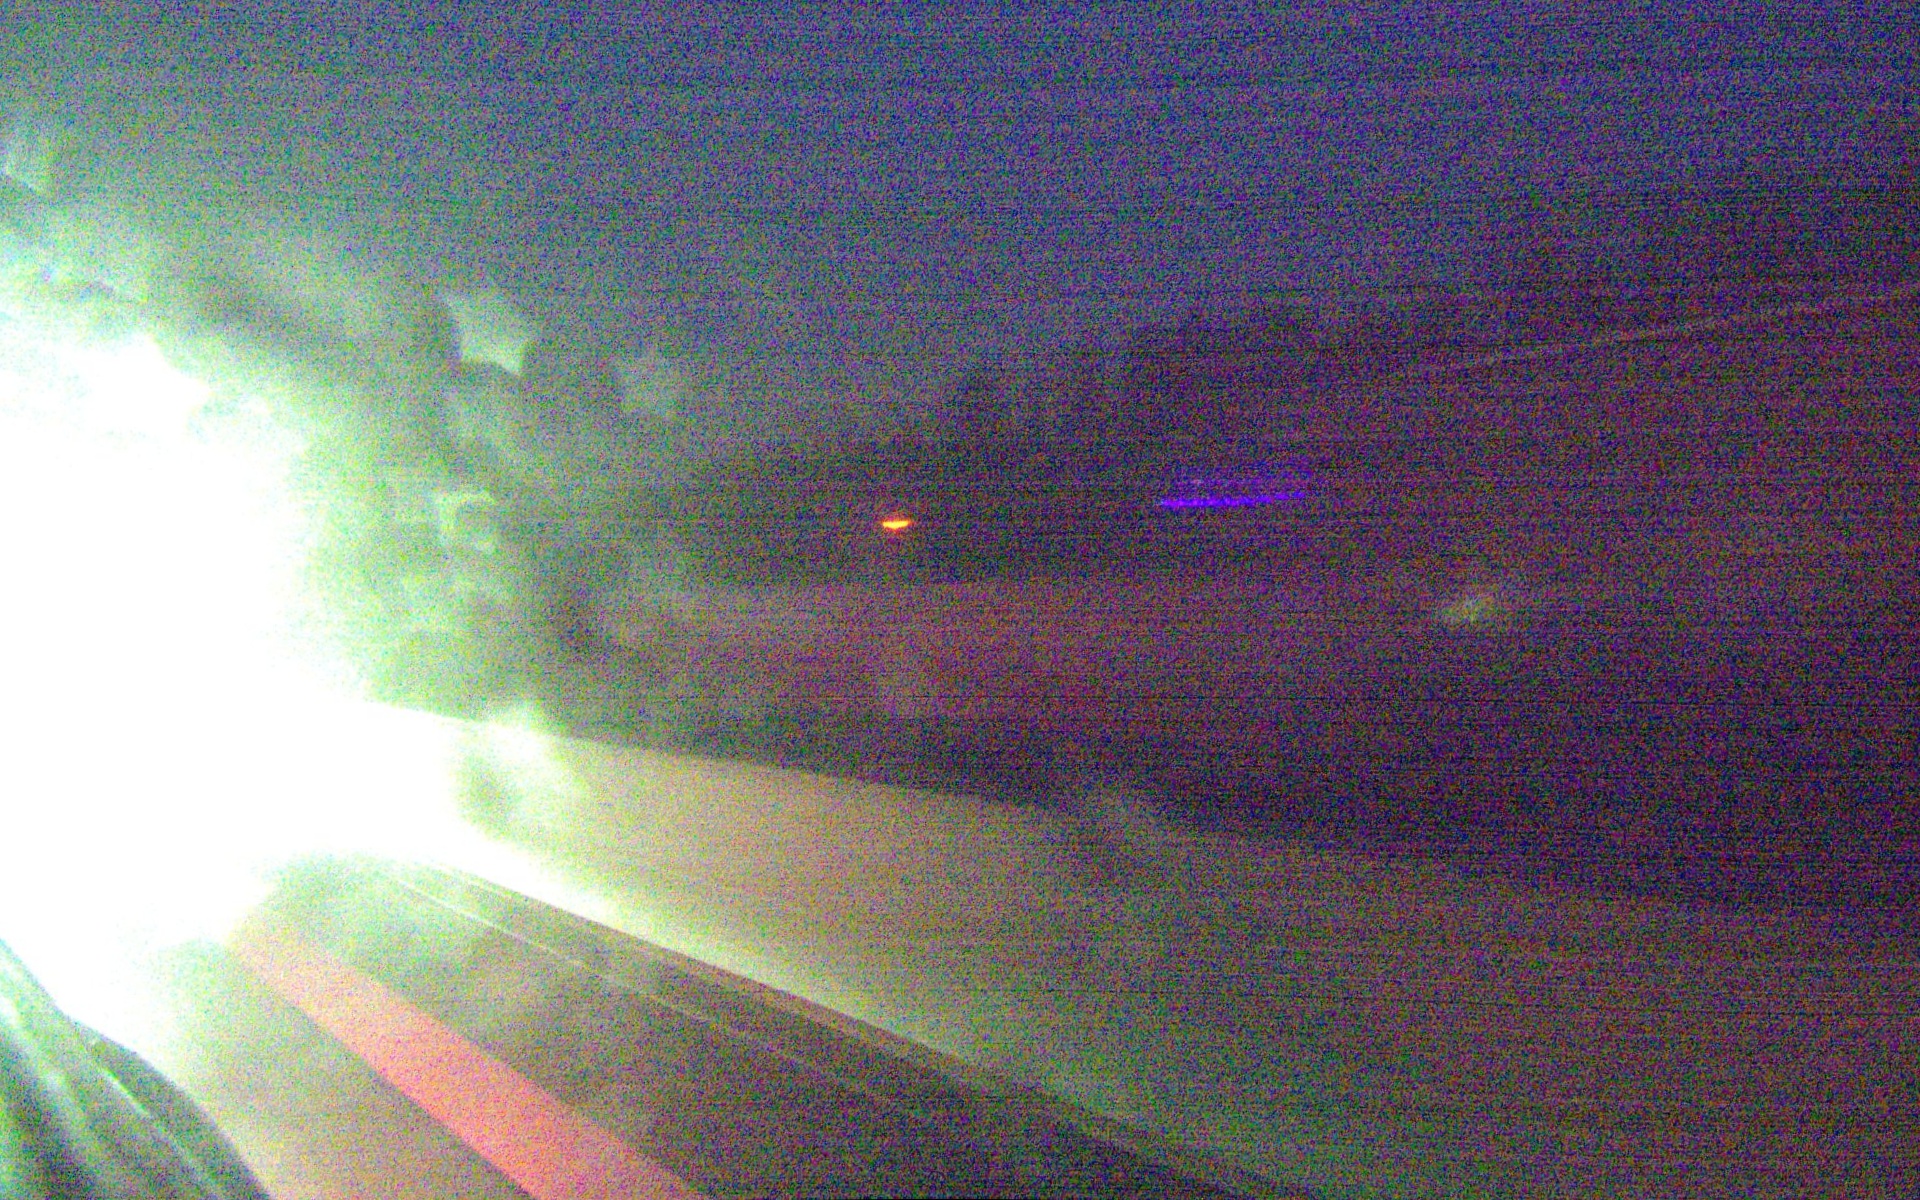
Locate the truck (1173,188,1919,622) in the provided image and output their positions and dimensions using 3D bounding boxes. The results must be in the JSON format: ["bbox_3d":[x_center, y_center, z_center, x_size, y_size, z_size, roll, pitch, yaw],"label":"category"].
[{"bbox_3d":[8.327,-2.025,13.076,10.648,4.066,2.918,-3,3,42],"label":"truck"}]

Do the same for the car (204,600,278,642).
[{"bbox_3d":[-34.550,1.022,48.606,3.999,1.697,1.973,-3,3,42],"label":"car"}]
